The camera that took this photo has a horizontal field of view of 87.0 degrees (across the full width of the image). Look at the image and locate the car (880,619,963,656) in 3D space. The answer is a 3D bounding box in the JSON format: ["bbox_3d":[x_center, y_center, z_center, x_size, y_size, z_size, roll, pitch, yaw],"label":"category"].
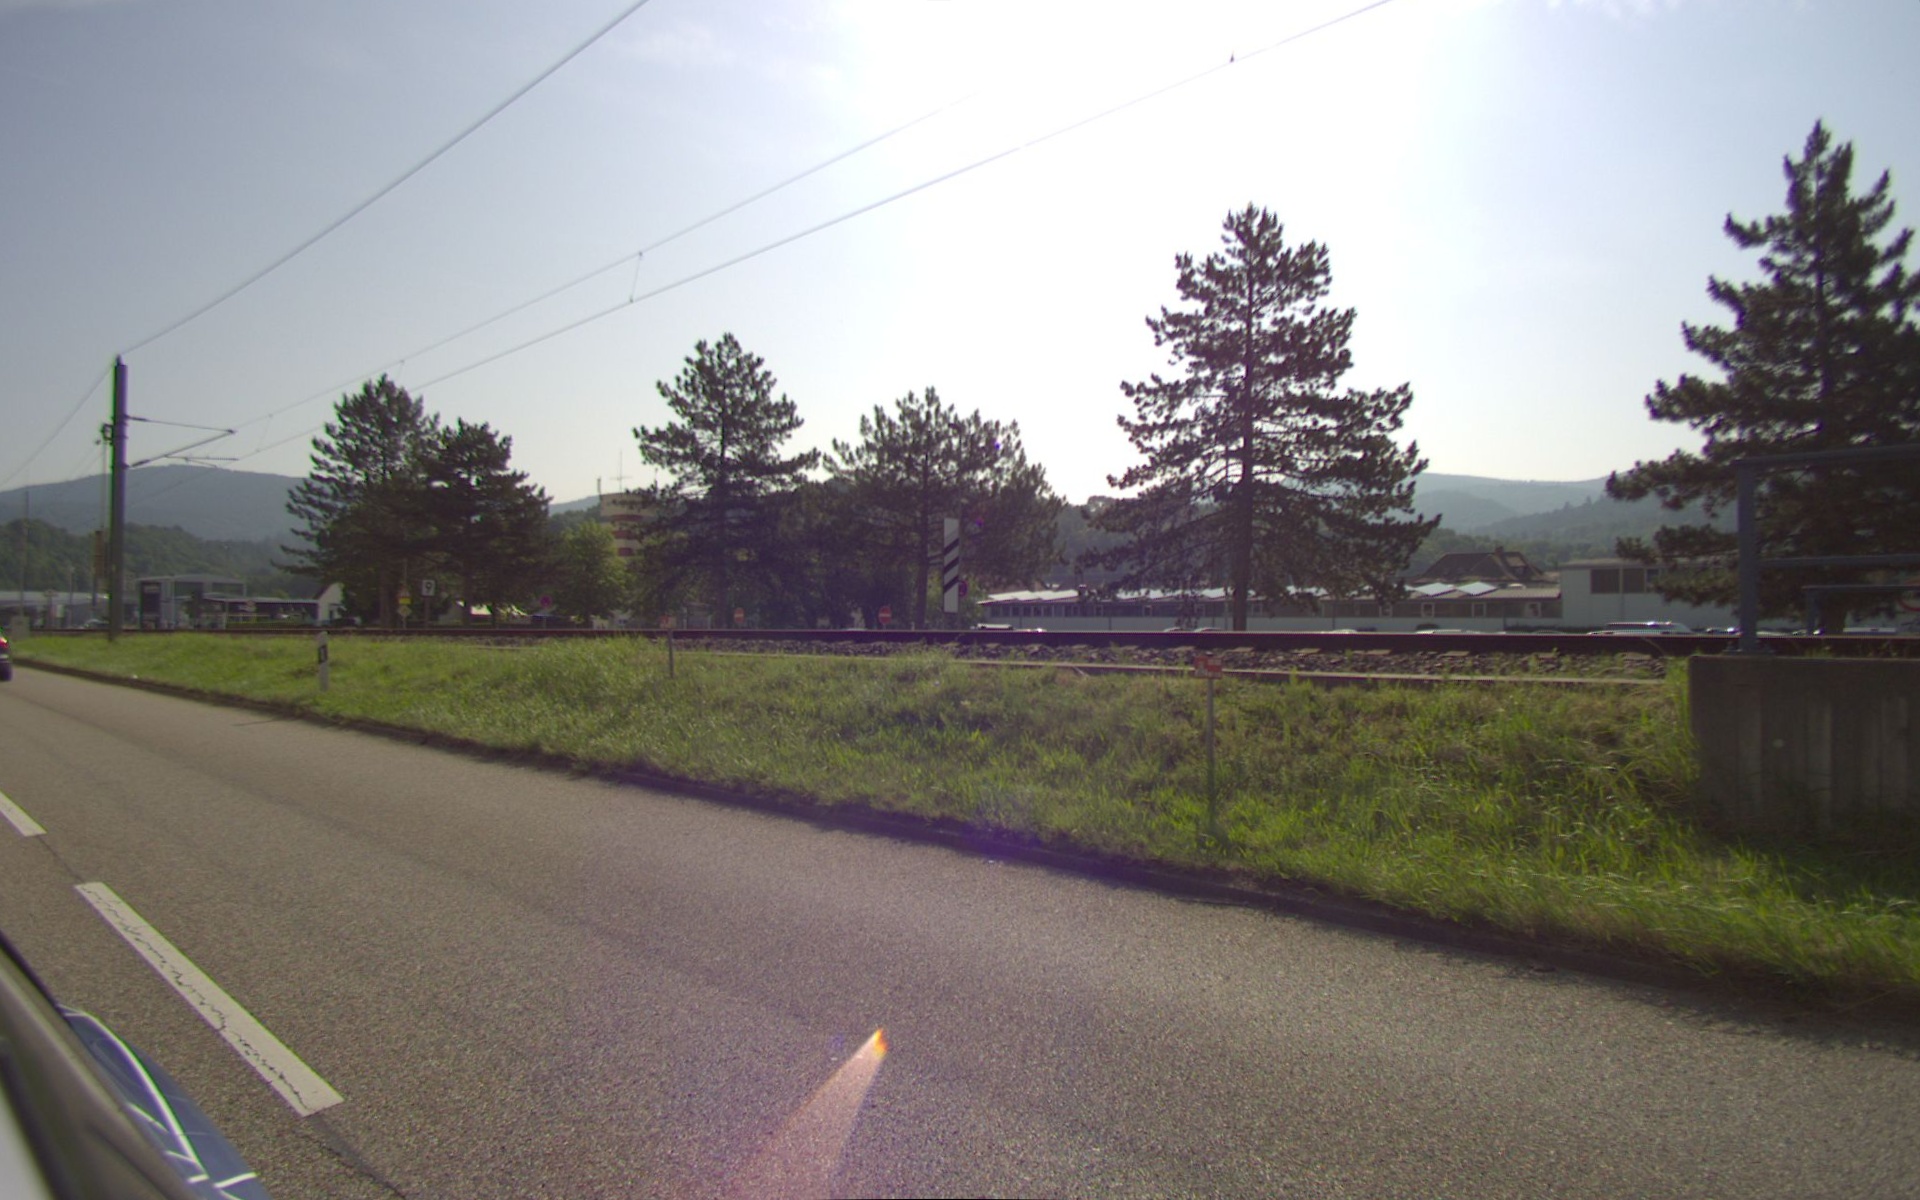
[{"bbox_3d":[-1.837,1.752,47.728,3.795,1.655,1.689,1,-2,-3],"label":"car"}]

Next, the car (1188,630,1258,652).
[{"bbox_3d":[15.773,2.473,60.780,3.795,1.272,1.568,1,-2,-3],"label":"car"}]

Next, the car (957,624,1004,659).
[{"bbox_3d":[0.798,1.670,41.501,1.496,1.368,3.525,1,-2,-6],"label":"car"}]

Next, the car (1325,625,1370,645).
[{"bbox_3d":[31.138,2.789,81.428,1.540,1.534,3.547,1,-2,-16],"label":"car"}]

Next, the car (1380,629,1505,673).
[{"bbox_3d":[15.292,1.608,32.084,3.476,1.335,1.461,1,-2,-17],"label":"car"}]

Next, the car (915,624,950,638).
[{"bbox_3d":[-3.103,3.535,114.793,3.842,1.492,1.478,0,-2,34],"label":"car"}]

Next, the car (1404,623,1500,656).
[{"bbox_3d":[20.367,1.629,41.893,3.476,1.335,1.461,1,-2,-16],"label":"car"}]

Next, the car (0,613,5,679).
[{"bbox_3d":[-24.329,1.094,24.254,4.090,1.537,1.713,-1,-1,41],"label":"car"}]

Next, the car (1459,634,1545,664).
[{"bbox_3d":[25.330,2.276,47.308,3.476,1.335,1.461,1,-2,-16],"label":"car"}]

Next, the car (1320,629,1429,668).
[{"bbox_3d":[14.796,1.736,36.159,3.476,1.335,1.461,1,-2,-17],"label":"car"}]

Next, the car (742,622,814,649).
[{"bbox_3d":[-10.148,1.971,56.589,3.795,1.454,1.689,1,-2,-3],"label":"car"}]

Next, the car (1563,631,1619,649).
[{"bbox_3d":[47.458,2.983,76.136,3.441,1.335,1.426,-1,-2,41],"label":"car"}]

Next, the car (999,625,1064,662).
[{"bbox_3d":[2.711,1.652,39.099,1.539,1.335,3.866,1,-2,-11],"label":"car"}]

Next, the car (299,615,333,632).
[{"bbox_3d":[-52.695,1.926,82.843,2.889,1.362,1.378,0,-2,36],"label":"car"}]

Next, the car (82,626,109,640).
[{"bbox_3d":[-109.310,4.155,127.943,4.358,1.701,1.506,0,0,33],"label":"car"}]

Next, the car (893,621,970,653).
[{"bbox_3d":[-1.477,1.867,51.187,3.795,1.518,1.689,1,-2,-3],"label":"car"}]

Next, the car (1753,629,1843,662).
[{"bbox_3d":[34.870,1.887,42.102,3.475,1.335,1.462,1,-2,-24],"label":"car"}]

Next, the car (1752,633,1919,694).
[{"bbox_3d":[21.664,1.502,24.711,1.433,1.335,3.545,1,-2,-13],"label":"car"}]

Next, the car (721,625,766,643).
[{"bbox_3d":[-19.884,3.112,93.051,3.986,1.560,1.666,-1,-2,31],"label":"car"}]

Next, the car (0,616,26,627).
[{"bbox_3d":[-137.628,3.134,145.943,1.658,1.539,3.925,-1,1,33],"label":"car"}]

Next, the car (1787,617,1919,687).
[{"bbox_3d":[23.824,1.297,25.958,1.619,1.701,3.816,1,-2,-14],"label":"car"}]
